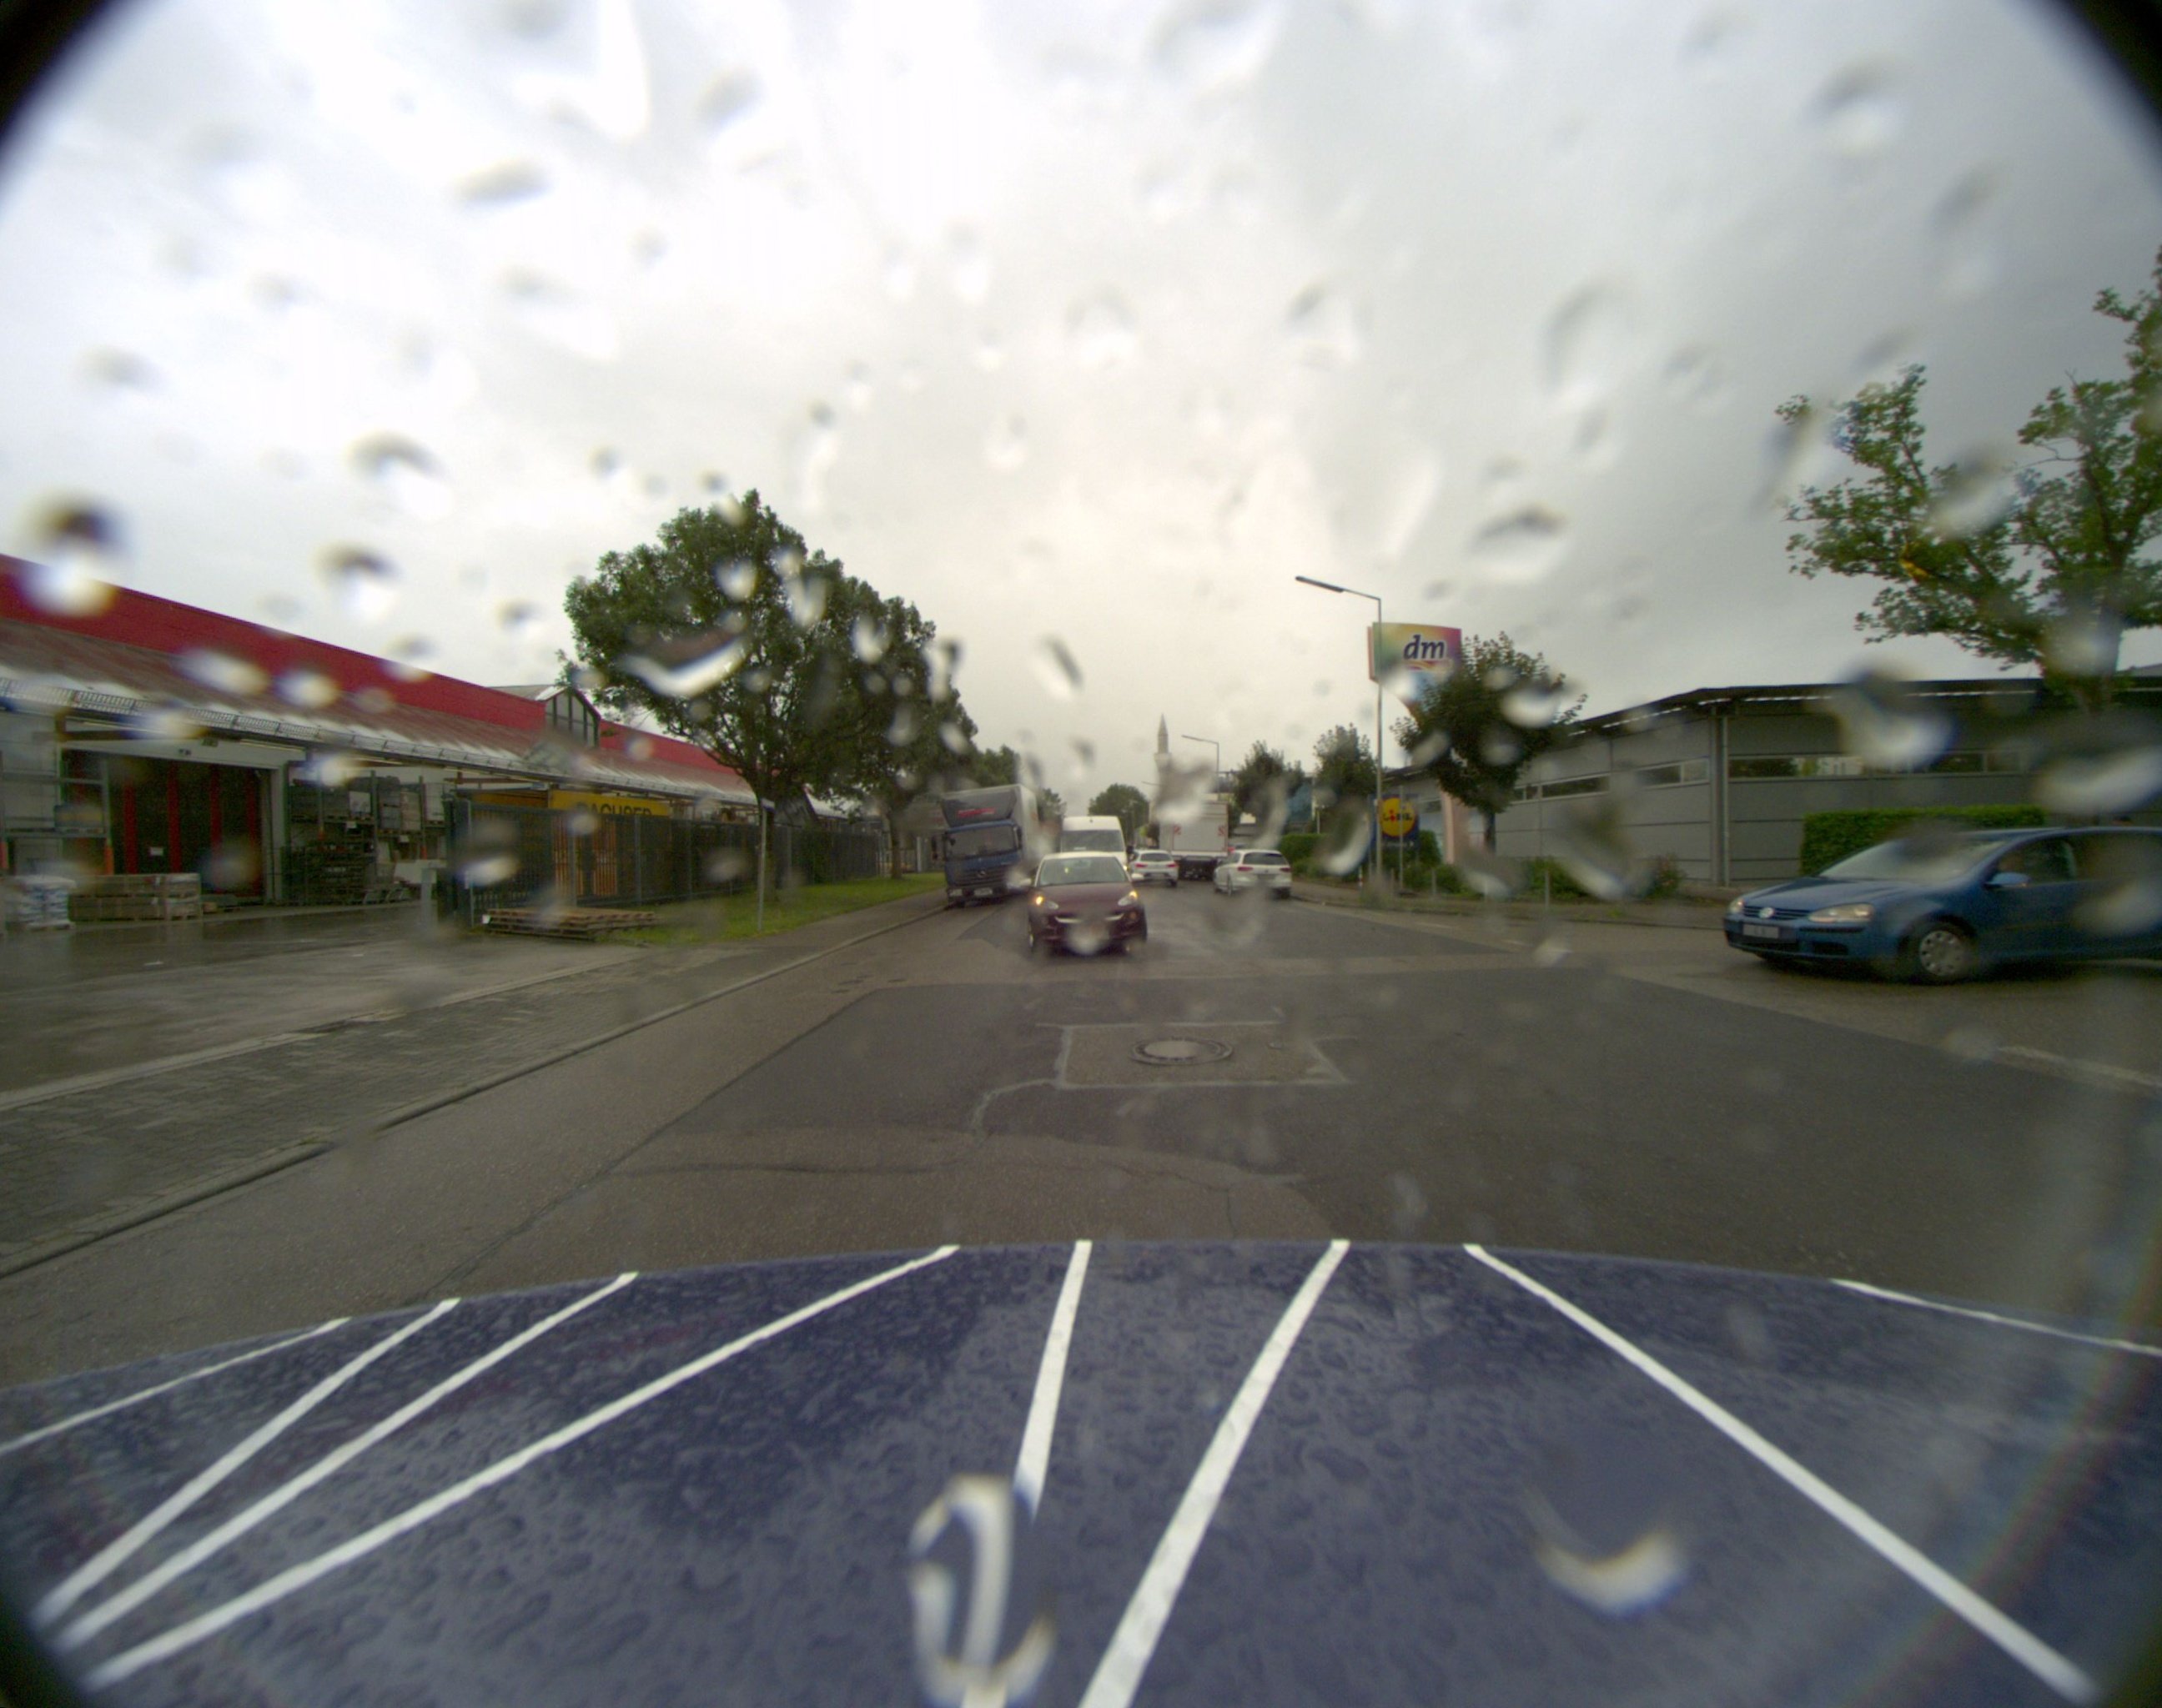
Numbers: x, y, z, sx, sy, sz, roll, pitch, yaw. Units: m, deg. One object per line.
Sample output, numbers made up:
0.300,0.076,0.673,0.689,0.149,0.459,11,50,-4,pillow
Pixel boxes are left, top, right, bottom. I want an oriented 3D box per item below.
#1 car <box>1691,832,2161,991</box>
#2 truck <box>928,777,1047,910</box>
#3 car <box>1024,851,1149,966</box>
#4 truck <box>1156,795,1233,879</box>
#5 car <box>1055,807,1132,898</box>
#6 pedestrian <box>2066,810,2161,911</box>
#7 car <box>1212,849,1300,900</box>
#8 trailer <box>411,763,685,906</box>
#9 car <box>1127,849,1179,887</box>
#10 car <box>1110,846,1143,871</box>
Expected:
8.997,0.518,7.838,3.997,1.432,1.736,-1,1,1,car
-2.879,-0.359,26.036,2.678,3.671,8.008,-4,1,1,truck
-0.021,0.735,12.139,1.637,1.447,3.576,-3,1,-3,car
5.552,-0.807,38.339,2.888,3.725,7.867,-1,1,2,truck
0.425,-0.078,23.756,2.084,2.466,5.346,-1,1,2,car
17.723,0.107,12.986,0.782,1.664,0.758,-1,1,-2,pedestrian
5.393,0.567,23.971,1.840,1.426,4.491,0,1,1,car
-18.355,-0.637,27.378,2.974,4.218,9.470,-1,1,1,trailer
2.855,0.518,31.025,1.735,1.432,3.999,-1,0,0,car
2.694,0.221,46.037,1.735,1.432,3.999,-1,0,0,car
